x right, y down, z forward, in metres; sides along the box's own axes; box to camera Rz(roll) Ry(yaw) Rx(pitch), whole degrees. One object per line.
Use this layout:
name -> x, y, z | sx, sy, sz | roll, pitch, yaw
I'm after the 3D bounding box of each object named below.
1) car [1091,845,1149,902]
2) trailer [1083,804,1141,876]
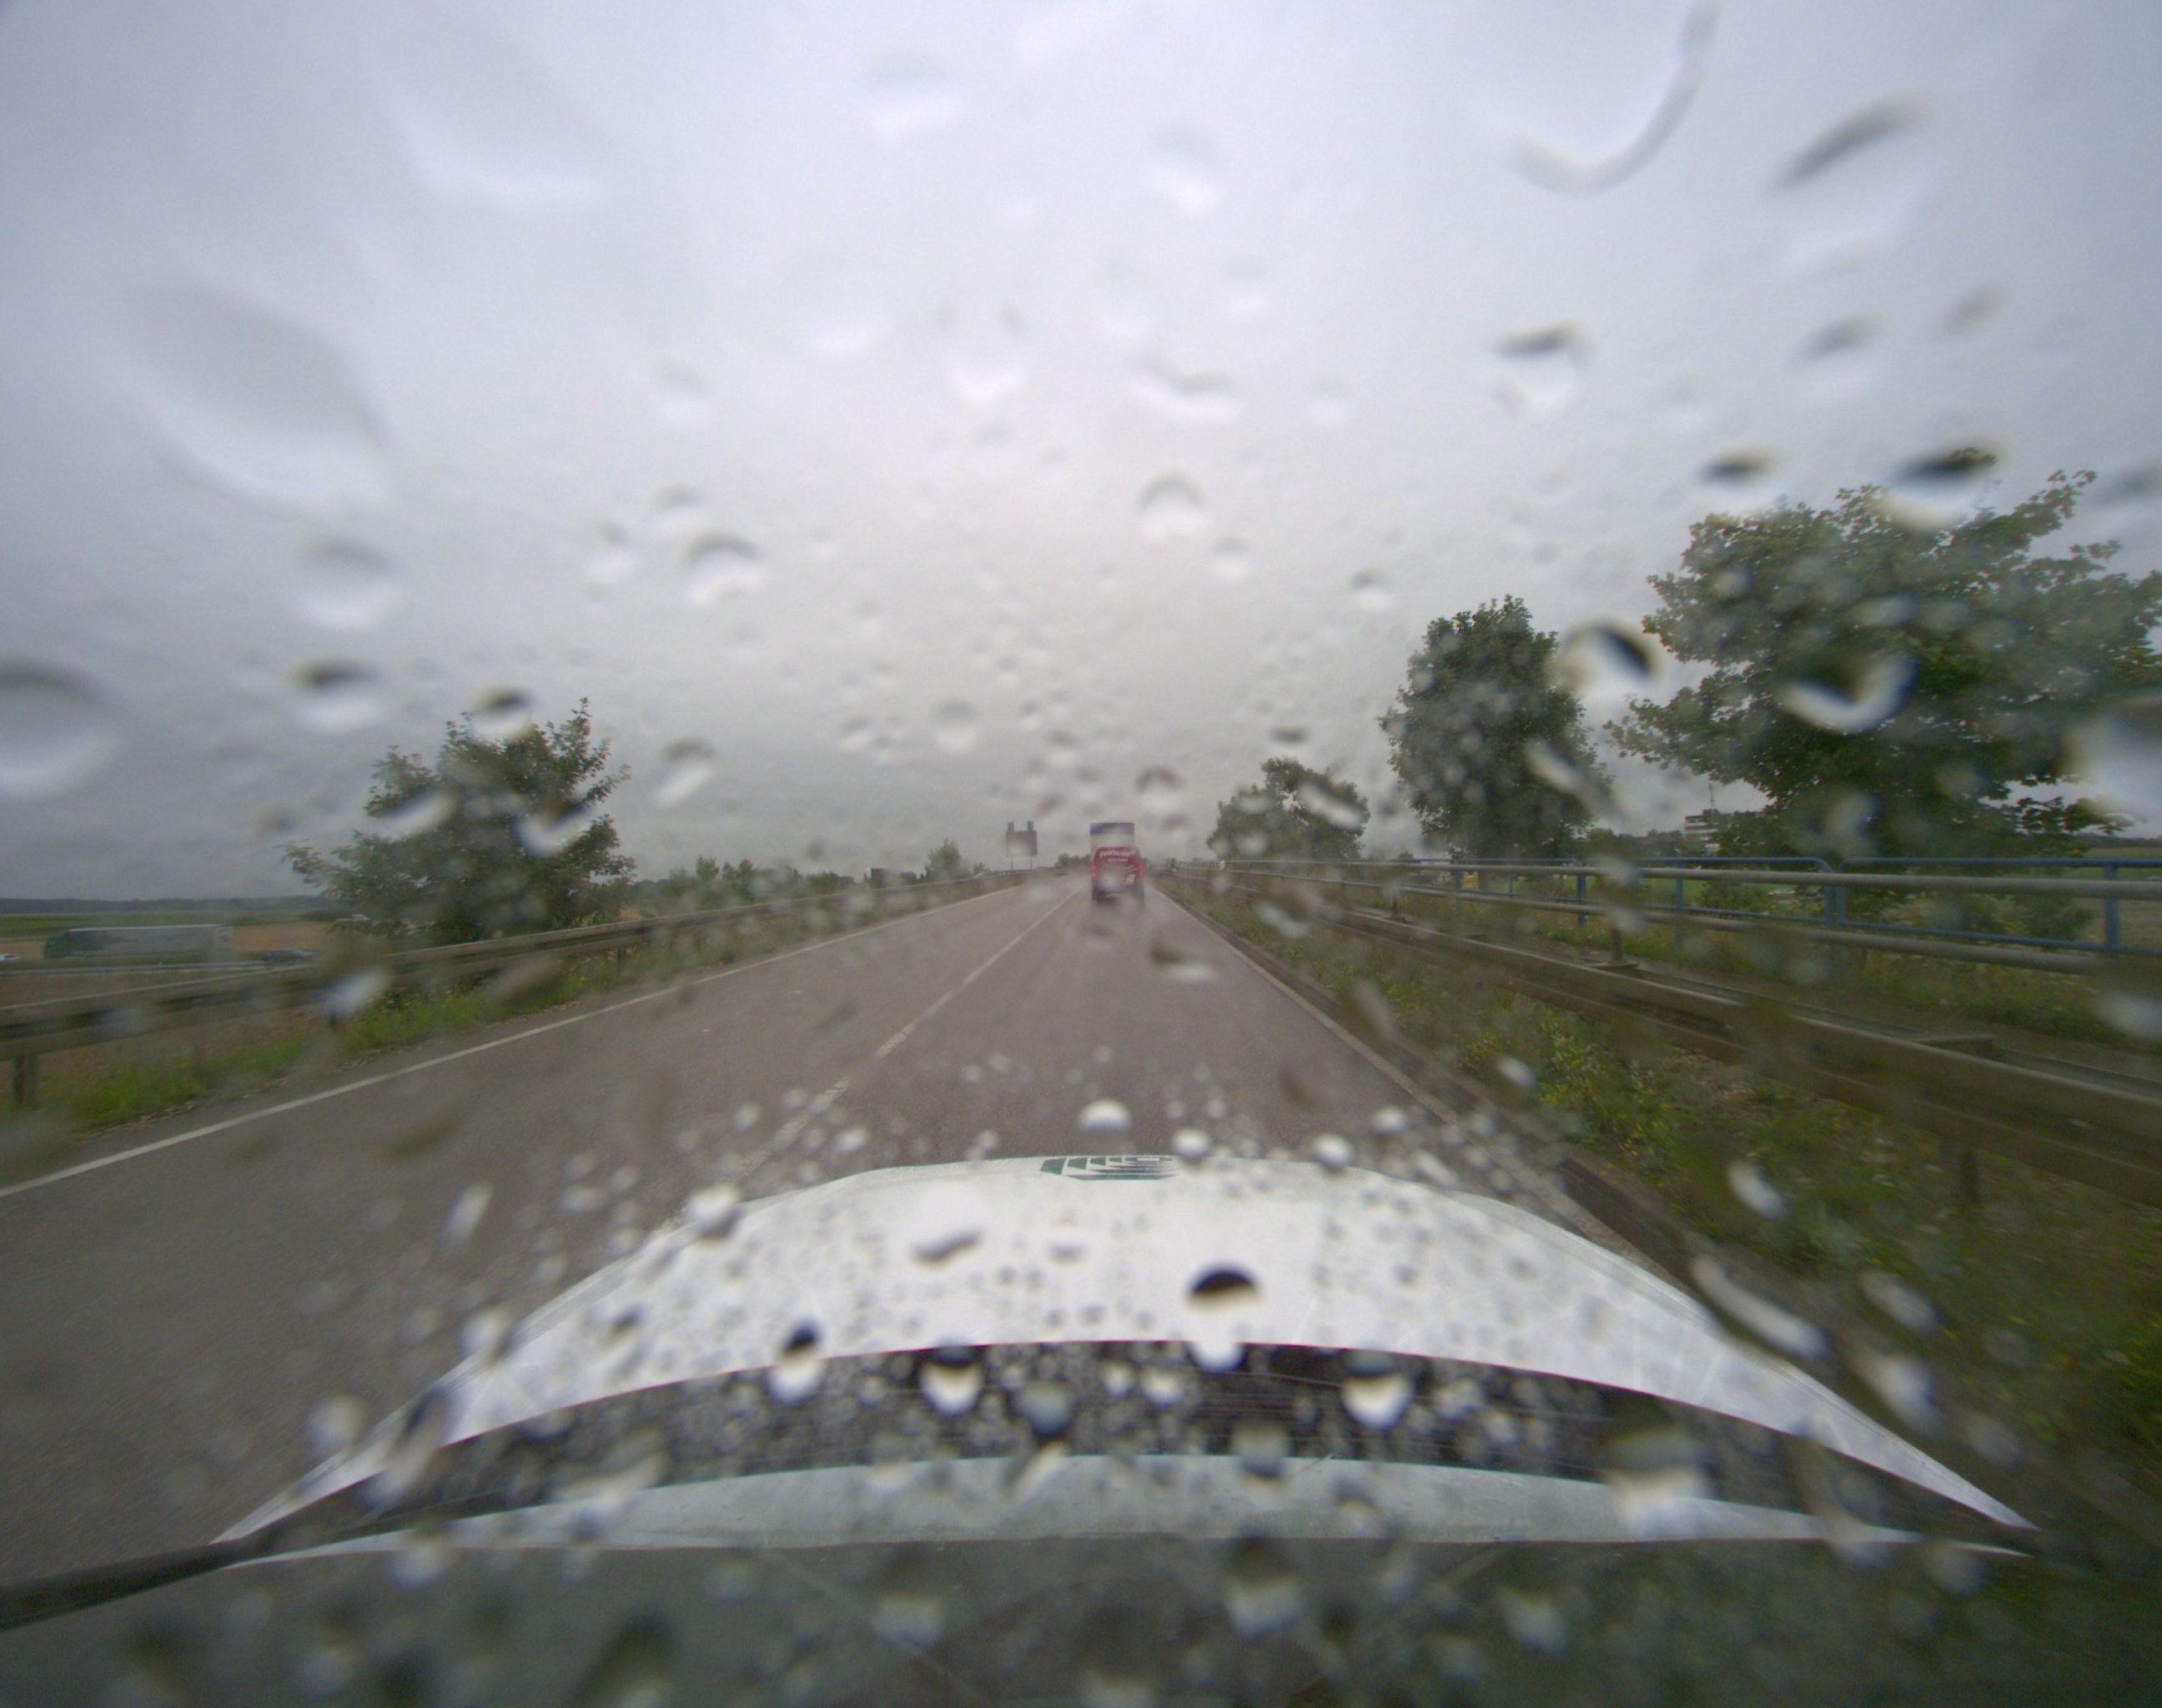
car -> 1.395, 0.668, 29.832 | 1.986, 1.926, 4.145 | 0, -1, 2
trailer -> 2.052, -0.688, 49.932 | 3.187, 3.922, 8.747 | 1, -2, 4
